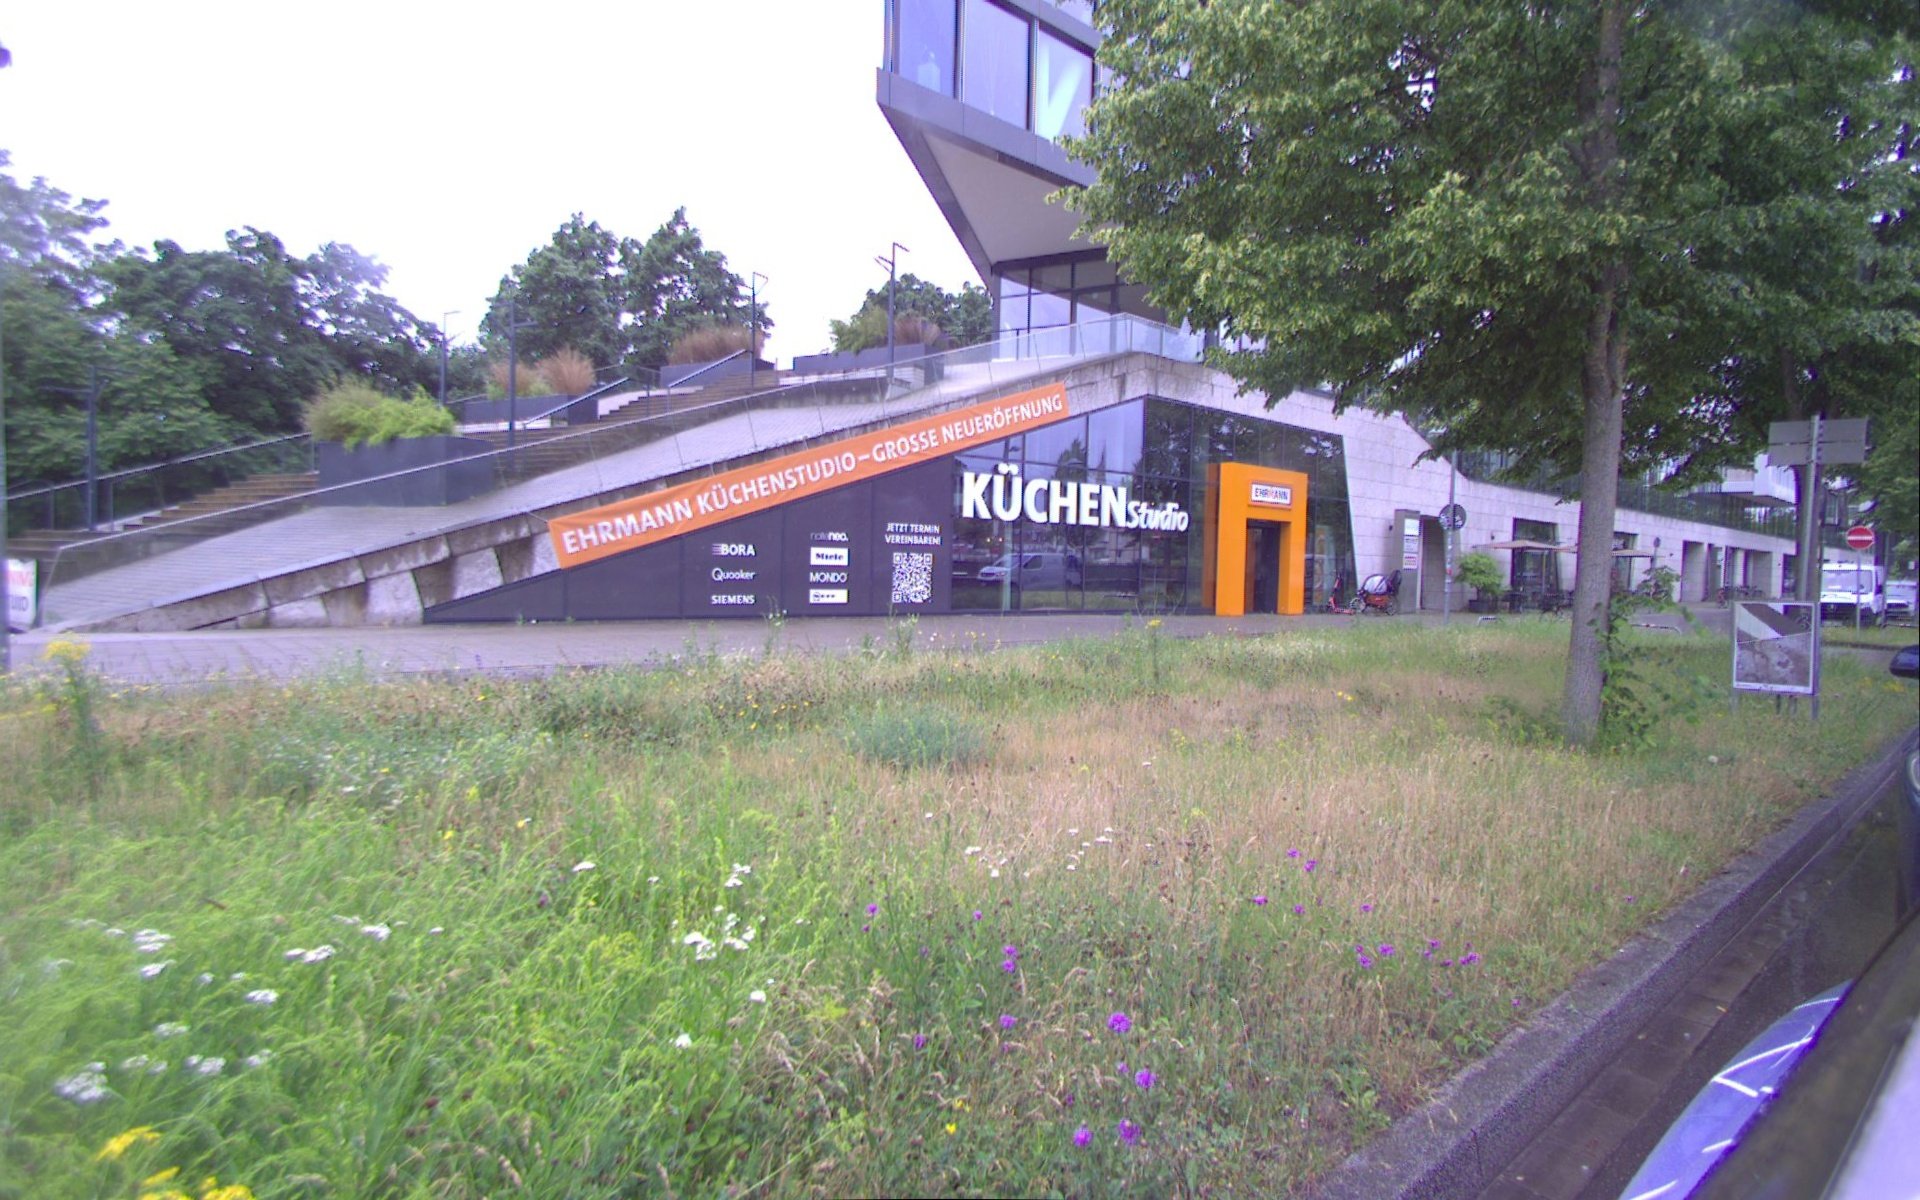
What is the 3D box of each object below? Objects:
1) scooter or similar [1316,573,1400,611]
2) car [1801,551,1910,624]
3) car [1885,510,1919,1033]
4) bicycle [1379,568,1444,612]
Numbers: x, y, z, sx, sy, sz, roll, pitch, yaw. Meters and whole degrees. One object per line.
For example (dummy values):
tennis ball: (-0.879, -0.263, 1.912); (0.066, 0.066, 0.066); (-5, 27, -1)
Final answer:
scooter or similar: (12.178, -0.250, 30.969); (2.560, 1.113, 0.814); (0, 0, -23)
car: (29.713, -0.408, 33.529); (5.008, 2.229, 2.083); (-1, 0, -41)
car: (5.439, 0.617, 4.175); (4.306, 1.769, 1.915); (1, -1, -41)
bicycle: (14.593, -0.338, 32.682); (2.650, 1.364, 0.882); (-1, 0, -41)
